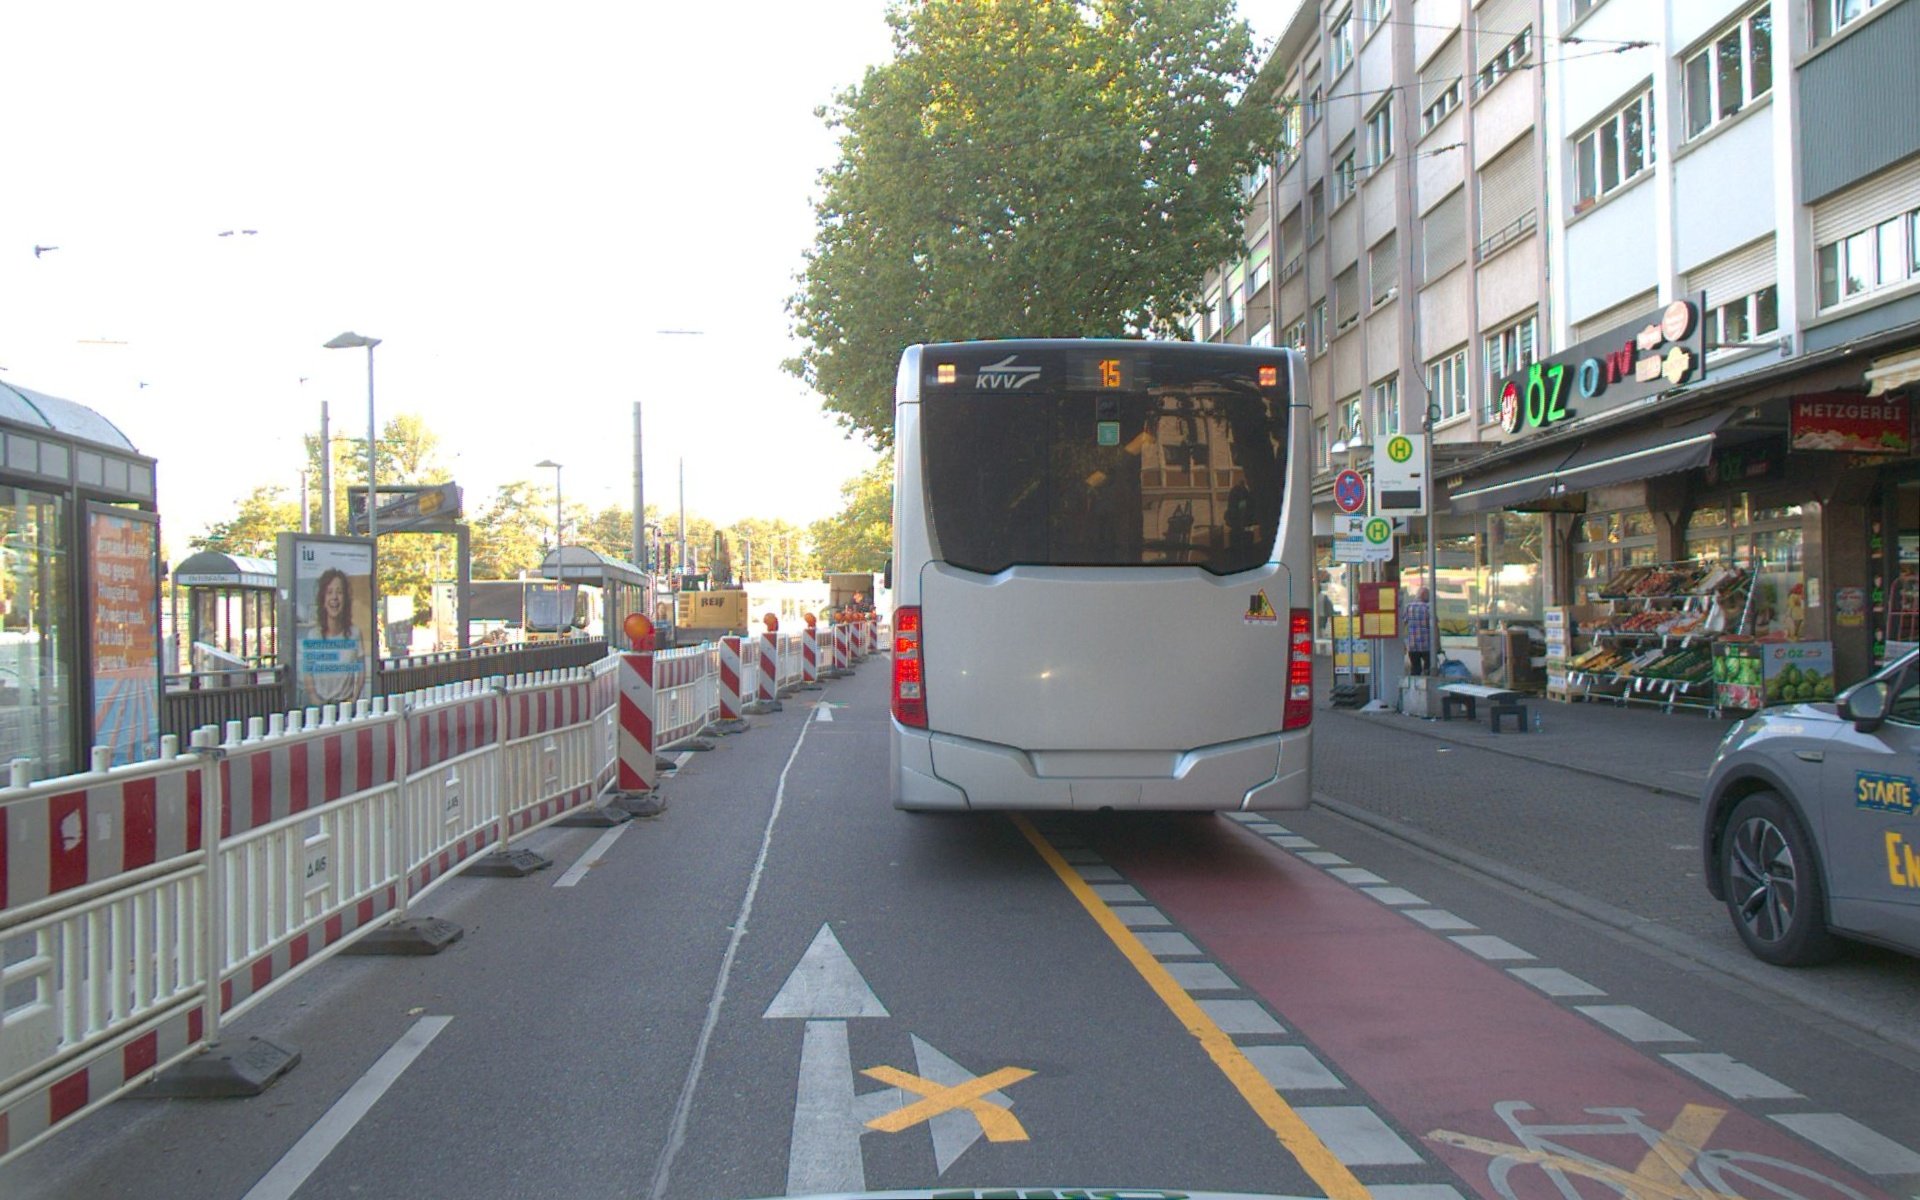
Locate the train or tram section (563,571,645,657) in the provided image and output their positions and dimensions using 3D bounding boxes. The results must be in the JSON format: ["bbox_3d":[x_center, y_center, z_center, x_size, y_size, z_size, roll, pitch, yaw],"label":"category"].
[{"bbox_3d":[-16.243,0.656,76.081,2.635,3.621,11.562,1,-1,-7],"label":"train or tram section"}]

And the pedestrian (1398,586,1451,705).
[{"bbox_3d":[6.760,0.656,24.085,0.649,1.696,0.601,-3,-1,16],"label":"pedestrian"}]

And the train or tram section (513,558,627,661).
[{"bbox_3d":[-15.009,0.412,64.541,2.634,3.596,11.757,1,-1,-5],"label":"train or tram section"}]

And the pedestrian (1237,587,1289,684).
[{"bbox_3d":[5.495,0.637,30.010,0.859,1.720,0.620,-1,0,14],"label":"pedestrian"}]

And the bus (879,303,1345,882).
[{"bbox_3d":[0.849,0.000,13.208,2.557,3.181,7.992,1,-1,0],"label":"bus"}]

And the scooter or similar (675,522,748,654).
[{"bbox_3d":[-8.996,-0.402,60.297,2.422,4.549,5.963,-1,-1,-7],"label":"scooter or similar"}]

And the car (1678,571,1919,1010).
[{"bbox_3d":[4.551,0.671,5.676,1.955,1.609,4.364,-3,0,-5],"label":"car"}]
